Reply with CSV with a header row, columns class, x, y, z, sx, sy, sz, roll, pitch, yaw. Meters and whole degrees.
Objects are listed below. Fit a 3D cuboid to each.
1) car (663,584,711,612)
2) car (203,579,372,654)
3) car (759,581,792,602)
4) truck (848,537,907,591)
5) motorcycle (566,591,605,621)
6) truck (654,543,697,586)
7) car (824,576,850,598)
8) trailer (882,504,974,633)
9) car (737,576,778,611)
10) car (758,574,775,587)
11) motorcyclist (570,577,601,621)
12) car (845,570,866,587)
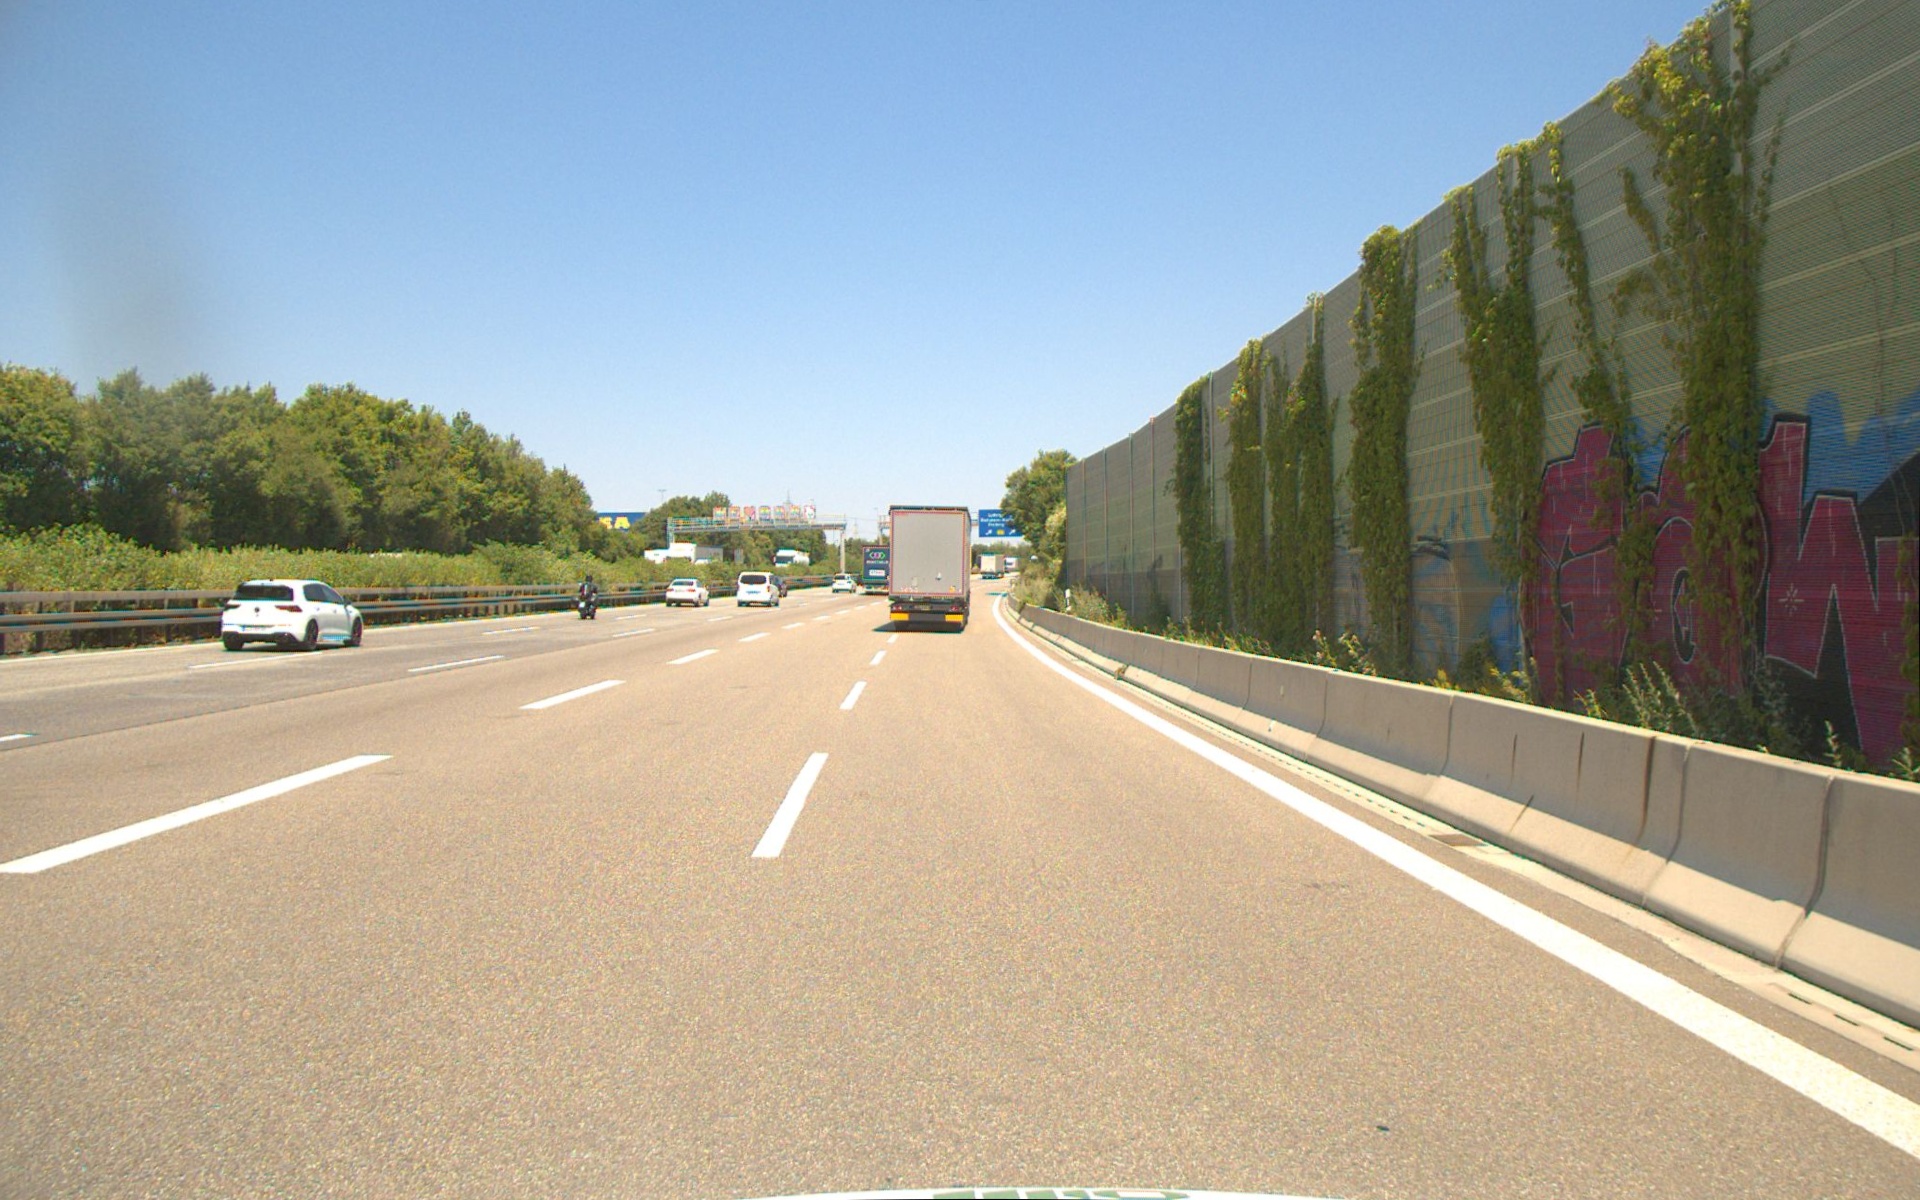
class,x,y,z,sx,sy,sz,roll,pitch,yaw
car,-14.587,-0.095,88.569,1.838,1.466,5.124,0,0,-1
car,-14.131,0.305,35.049,1.746,1.465,4.668,0,1,-1
car,-13.406,-0.624,120.480,1.720,1.433,5.039,0,-1,1
truck,-6.941,-3.063,141.827,3.669,4.344,14.501,1,1,2
motorcycle,-13.934,0.224,61.571,0.894,1.108,2.848,0,0,-2
truck,-28.276,-3.465,164.541,3.264,4.161,4.829,1,1,0
car,-10.729,-1.165,144.636,1.865,1.884,4.632,0,1,1
trailer,-1.109,-1.150,58.508,2.868,4.085,12.037,0,1,-1
car,-11.257,-0.394,92.003,1.892,1.884,4.690,0,1,-3
car,-27.782,-2.757,237.364,1.865,1.747,4.631,0,-1,1
motorcyclist,-13.931,-0.030,61.552,0.875,1.625,1.299,0,0,-2
car,-11.812,-2.385,186.975,1.865,1.747,4.631,0,-1,1
